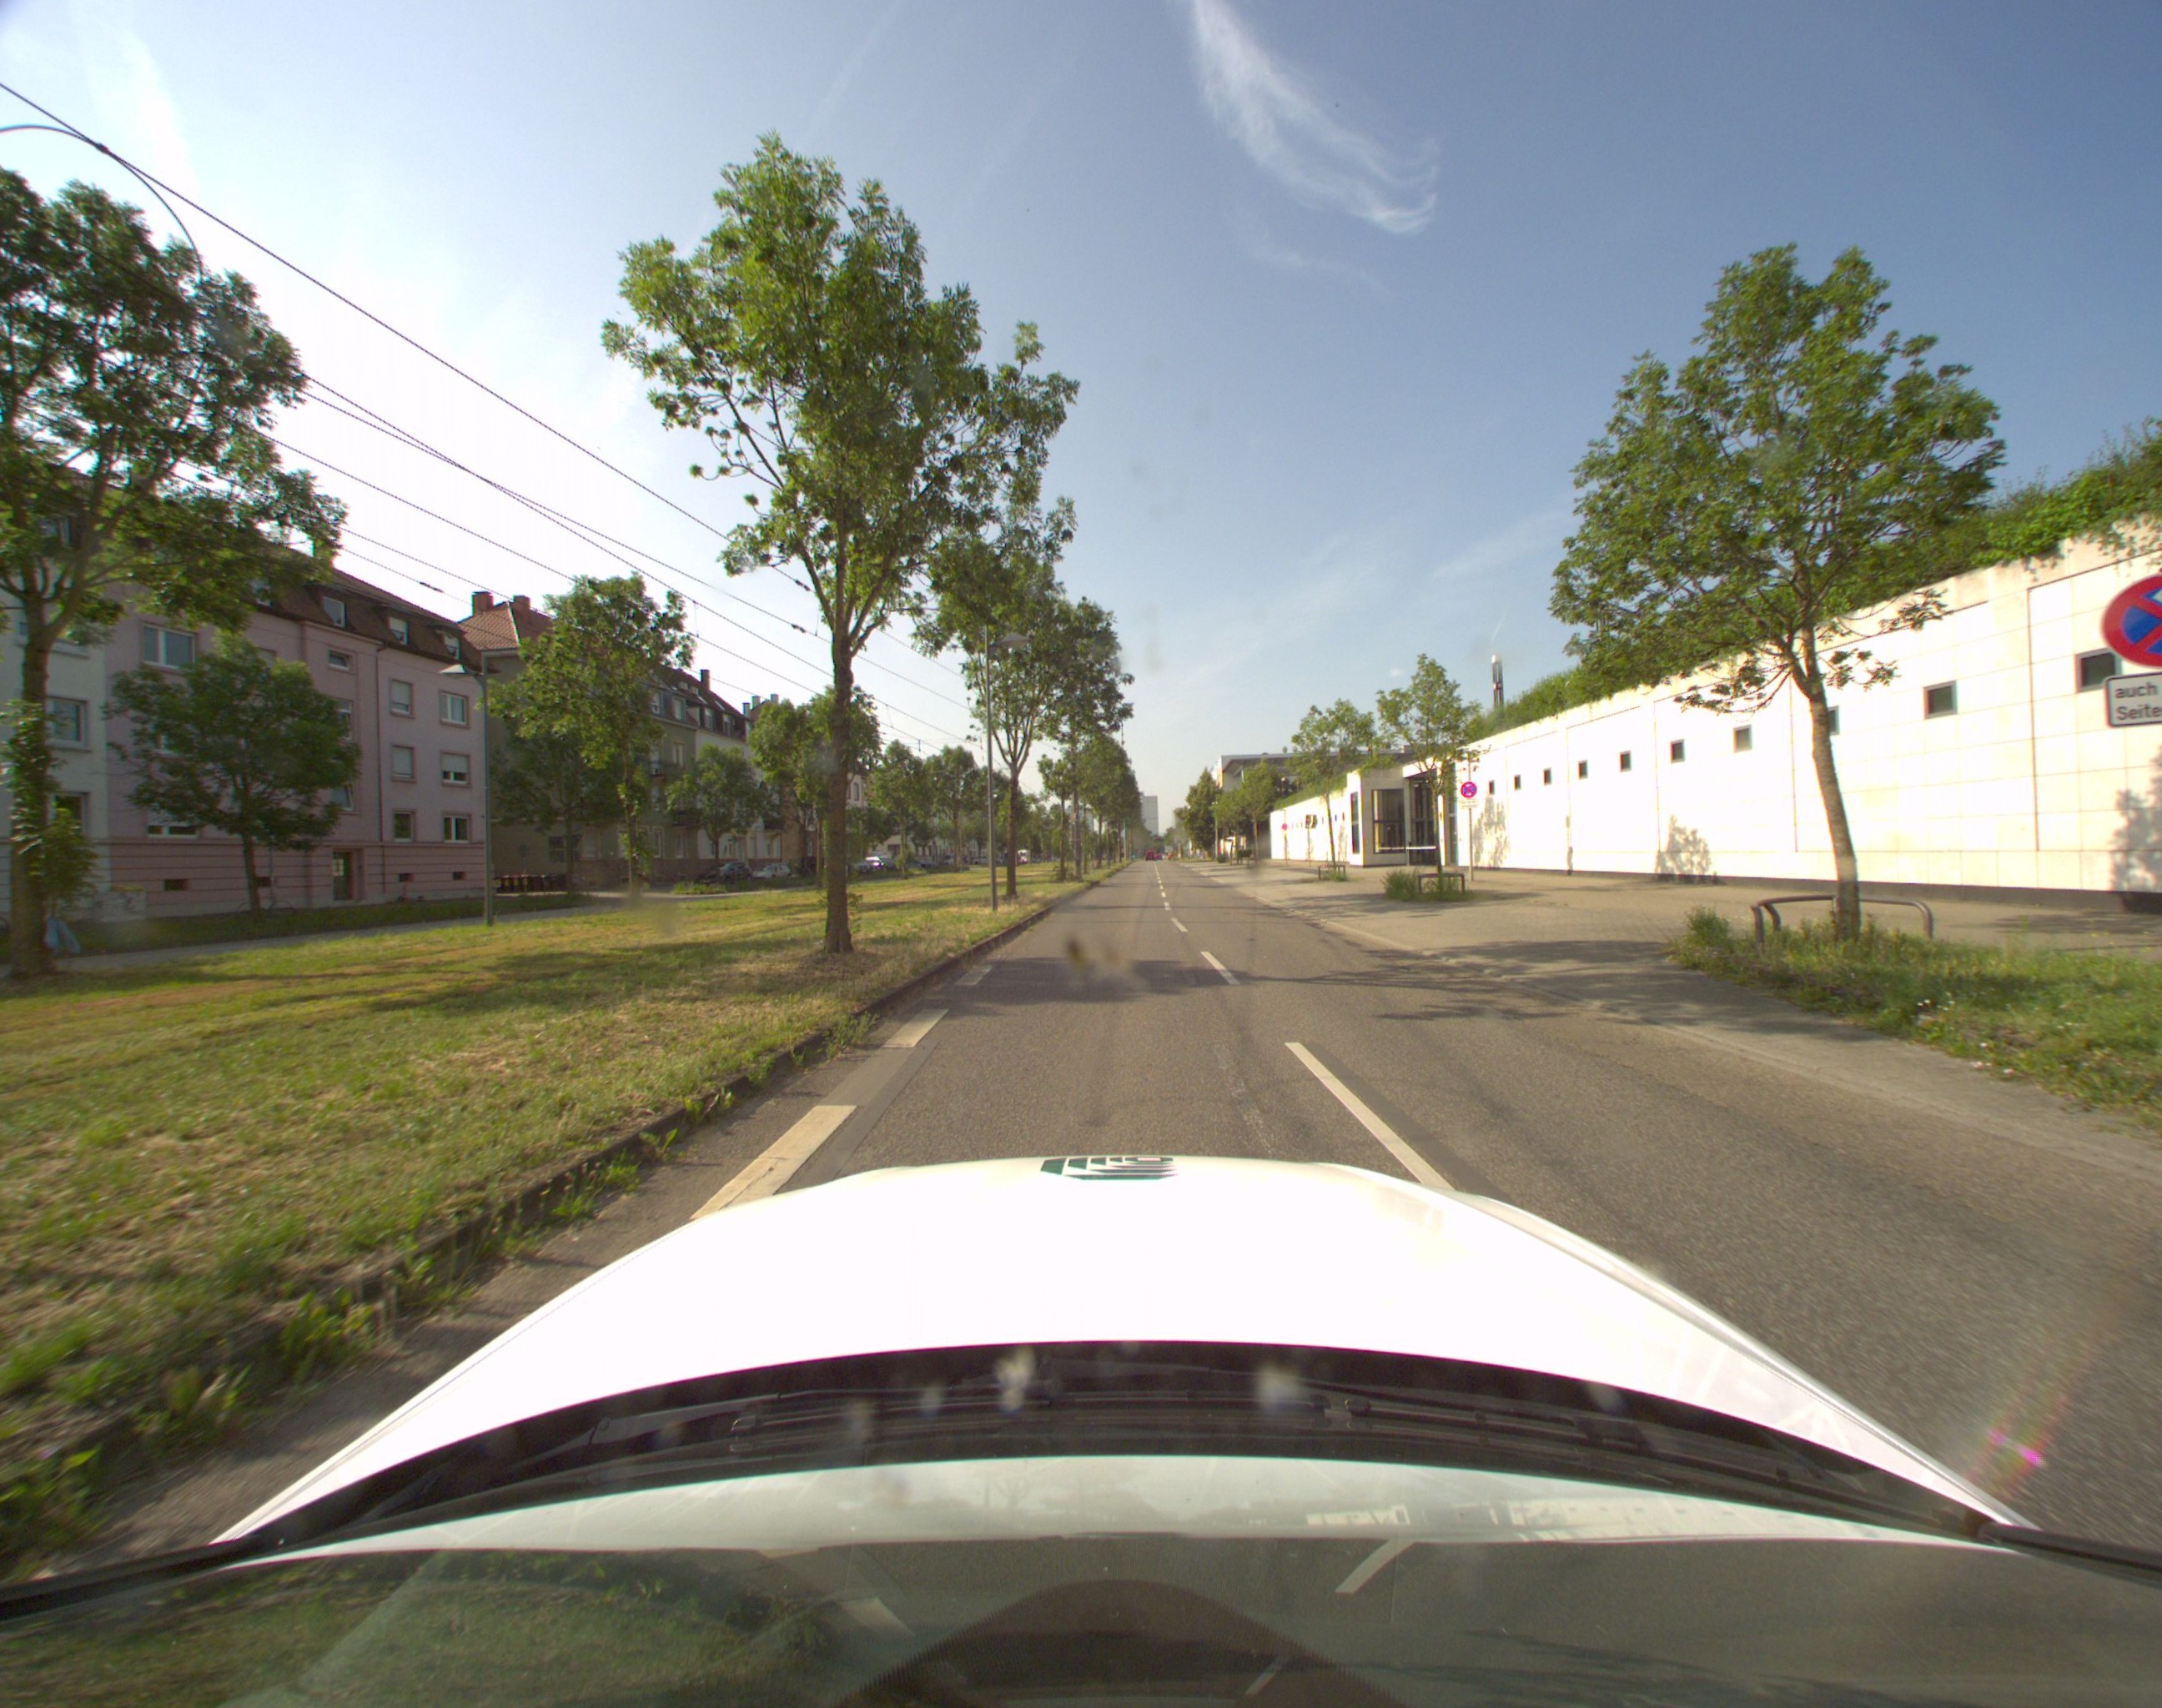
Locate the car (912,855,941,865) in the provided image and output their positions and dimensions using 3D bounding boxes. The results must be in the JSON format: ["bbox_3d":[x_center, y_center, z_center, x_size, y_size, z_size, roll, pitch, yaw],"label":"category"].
[{"bbox_3d":[-17.597,0.694,92.596,3.124,1.161,1.506,0,0,37],"label":"car"}]

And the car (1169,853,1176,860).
[{"bbox_3d":[22.723,0.618,201.553,1.739,1.650,3.221,0,0,6],"label":"car"}]

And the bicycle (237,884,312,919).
[{"bbox_3d":[-28.486,1.650,28.802,0.601,1.128,1.949,0,0,3],"label":"bicycle"}]

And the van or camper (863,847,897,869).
[{"bbox_3d":[-24.415,0.498,99.173,2.030,2.567,6.364,0,0,4],"label":"van or camper"}]

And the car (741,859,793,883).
[{"bbox_3d":[-22.993,1.194,59.767,1.881,1.628,4.162,0,0,5],"label":"car"}]

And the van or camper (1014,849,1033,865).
[{"bbox_3d":[-9.344,0.508,132.349,2.193,2.531,6.037,0,0,4],"label":"van or camper"}]

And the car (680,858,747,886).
[{"bbox_3d":[-24.017,1.138,53.410,1.985,1.628,4.779,0,0,3],"label":"car"}]

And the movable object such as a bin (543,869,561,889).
[{"bbox_3d":[-31.647,1.491,48.716,0.582,1.211,0.641,0,0,3],"label":"movable object such as a bin"}]

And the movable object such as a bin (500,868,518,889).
[{"bbox_3d":[-34.239,1.472,48.776,0.582,1.211,0.641,0,0,3],"label":"movable object such as a bin"}]

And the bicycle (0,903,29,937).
[{"bbox_3d":[-29.120,1.782,21.346,0.445,0.857,1.949,0,0,4],"label":"bicycle"}]

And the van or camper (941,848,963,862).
[{"bbox_3d":[-21.637,0.180,136.827,1.983,2.328,5.839,0,0,7],"label":"van or camper"}]

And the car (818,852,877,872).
[{"bbox_3d":[-20.008,0.659,69.642,5.155,1.623,2.070,0,0,35],"label":"car"}]

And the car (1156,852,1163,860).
[{"bbox_3d":[19.292,0.577,200.921,1.739,2.013,3.221,0,0,6],"label":"car"}]

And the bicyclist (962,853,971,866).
[{"bbox_3d":[-16.536,0.781,117.676,1.146,1.762,0.684,0,0,-7],"label":"bicyclist"}]

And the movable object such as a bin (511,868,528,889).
[{"bbox_3d":[-33.614,1.477,48.754,0.582,1.211,0.641,0,0,3],"label":"movable object such as a bin"}]

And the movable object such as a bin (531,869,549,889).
[{"bbox_3d":[-32.354,1.486,48.691,0.582,1.211,0.641,0,0,3],"label":"movable object such as a bin"}]

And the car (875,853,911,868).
[{"bbox_3d":[-19.233,0.656,83.237,3.949,1.417,1.587,0,0,39],"label":"car"}]

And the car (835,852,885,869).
[{"bbox_3d":[-19.647,0.571,72.295,4.419,1.419,1.988,0,0,36],"label":"car"}]

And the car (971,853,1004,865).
[{"bbox_3d":[-15.079,0.797,131.272,5.259,1.738,2.013,0,0,38],"label":"car"}]

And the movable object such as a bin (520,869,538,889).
[{"bbox_3d":[-33.009,1.481,48.721,0.582,1.211,0.641,0,0,3],"label":"movable object such as a bin"}]

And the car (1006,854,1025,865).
[{"bbox_3d":[-10.129,0.853,125.345,1.953,1.694,4.307,0,0,9],"label":"car"}]

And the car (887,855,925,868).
[{"bbox_3d":[-18.421,0.779,85.721,3.949,1.417,1.587,0,0,31],"label":"car"}]

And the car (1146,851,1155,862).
[{"bbox_3d":[13.157,0.454,153.720,1.739,2.013,3.221,0,0,6],"label":"car"}]

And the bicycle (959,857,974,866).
[{"bbox_3d":[-16.506,1.077,117.680,2.065,1.324,0.781,0,0,-8],"label":"bicycle"}]
